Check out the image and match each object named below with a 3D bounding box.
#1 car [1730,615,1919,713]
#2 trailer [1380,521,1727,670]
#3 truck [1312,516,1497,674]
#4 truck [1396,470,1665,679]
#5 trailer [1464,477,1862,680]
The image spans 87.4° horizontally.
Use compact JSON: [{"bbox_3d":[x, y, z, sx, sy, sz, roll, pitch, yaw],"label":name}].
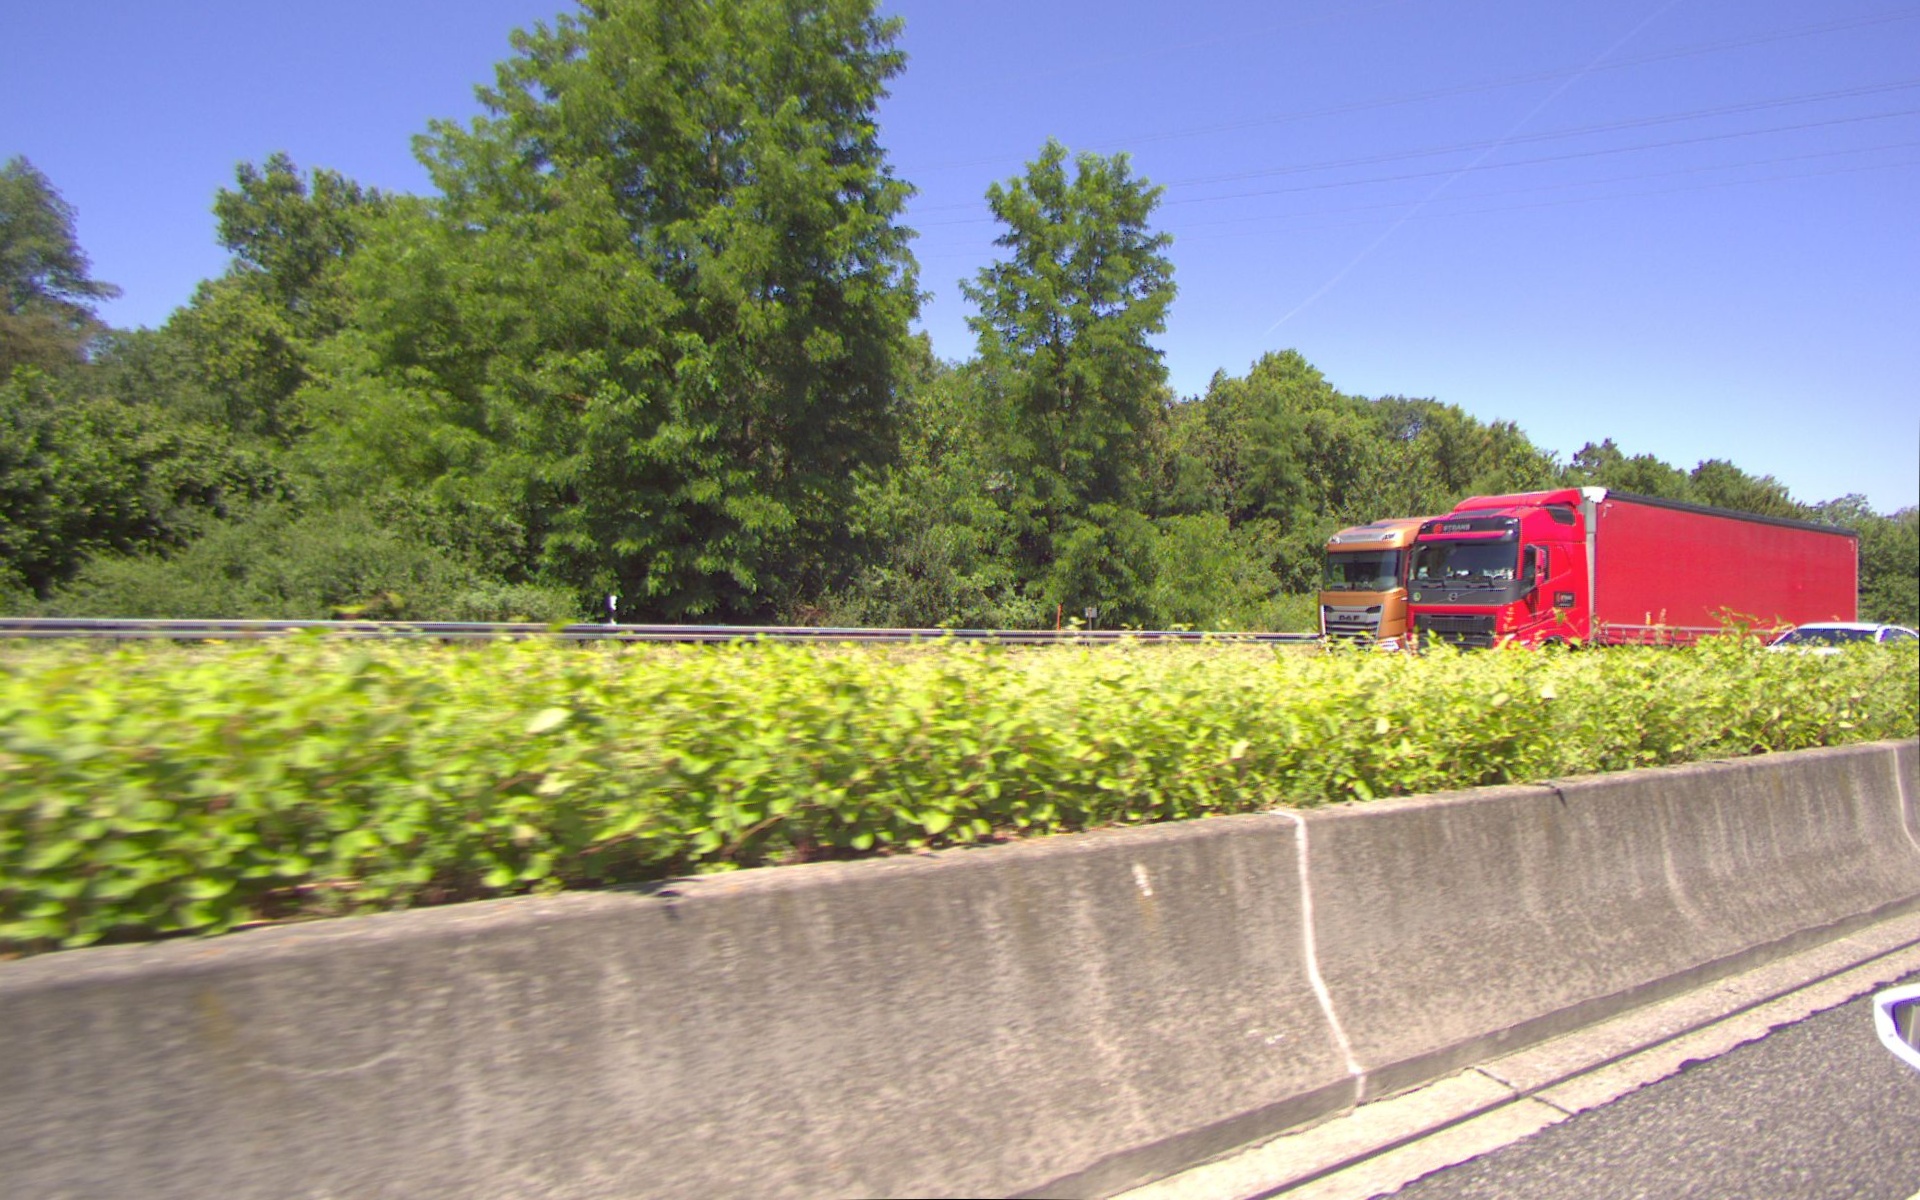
[{"bbox_3d":[16.308,1.146,18.820,3.955,1.623,1.686,2,0,-32],"label":"car"},{"bbox_3d":[17.806,0.049,29.371,14.058,3.643,2.359,2,0,-31],"label":"trailer"},{"bbox_3d":[11.236,-0.074,25.372,4.118,3.649,2.344,1,0,-32],"label":"truck"},{"bbox_3d":[12.027,-0.413,21.068,5.665,3.839,2.452,1,0,-32],"label":"truck"},{"bbox_3d":[17.709,-0.265,24.555,14.237,3.988,2.453,2,0,-31],"label":"trailer"}]
